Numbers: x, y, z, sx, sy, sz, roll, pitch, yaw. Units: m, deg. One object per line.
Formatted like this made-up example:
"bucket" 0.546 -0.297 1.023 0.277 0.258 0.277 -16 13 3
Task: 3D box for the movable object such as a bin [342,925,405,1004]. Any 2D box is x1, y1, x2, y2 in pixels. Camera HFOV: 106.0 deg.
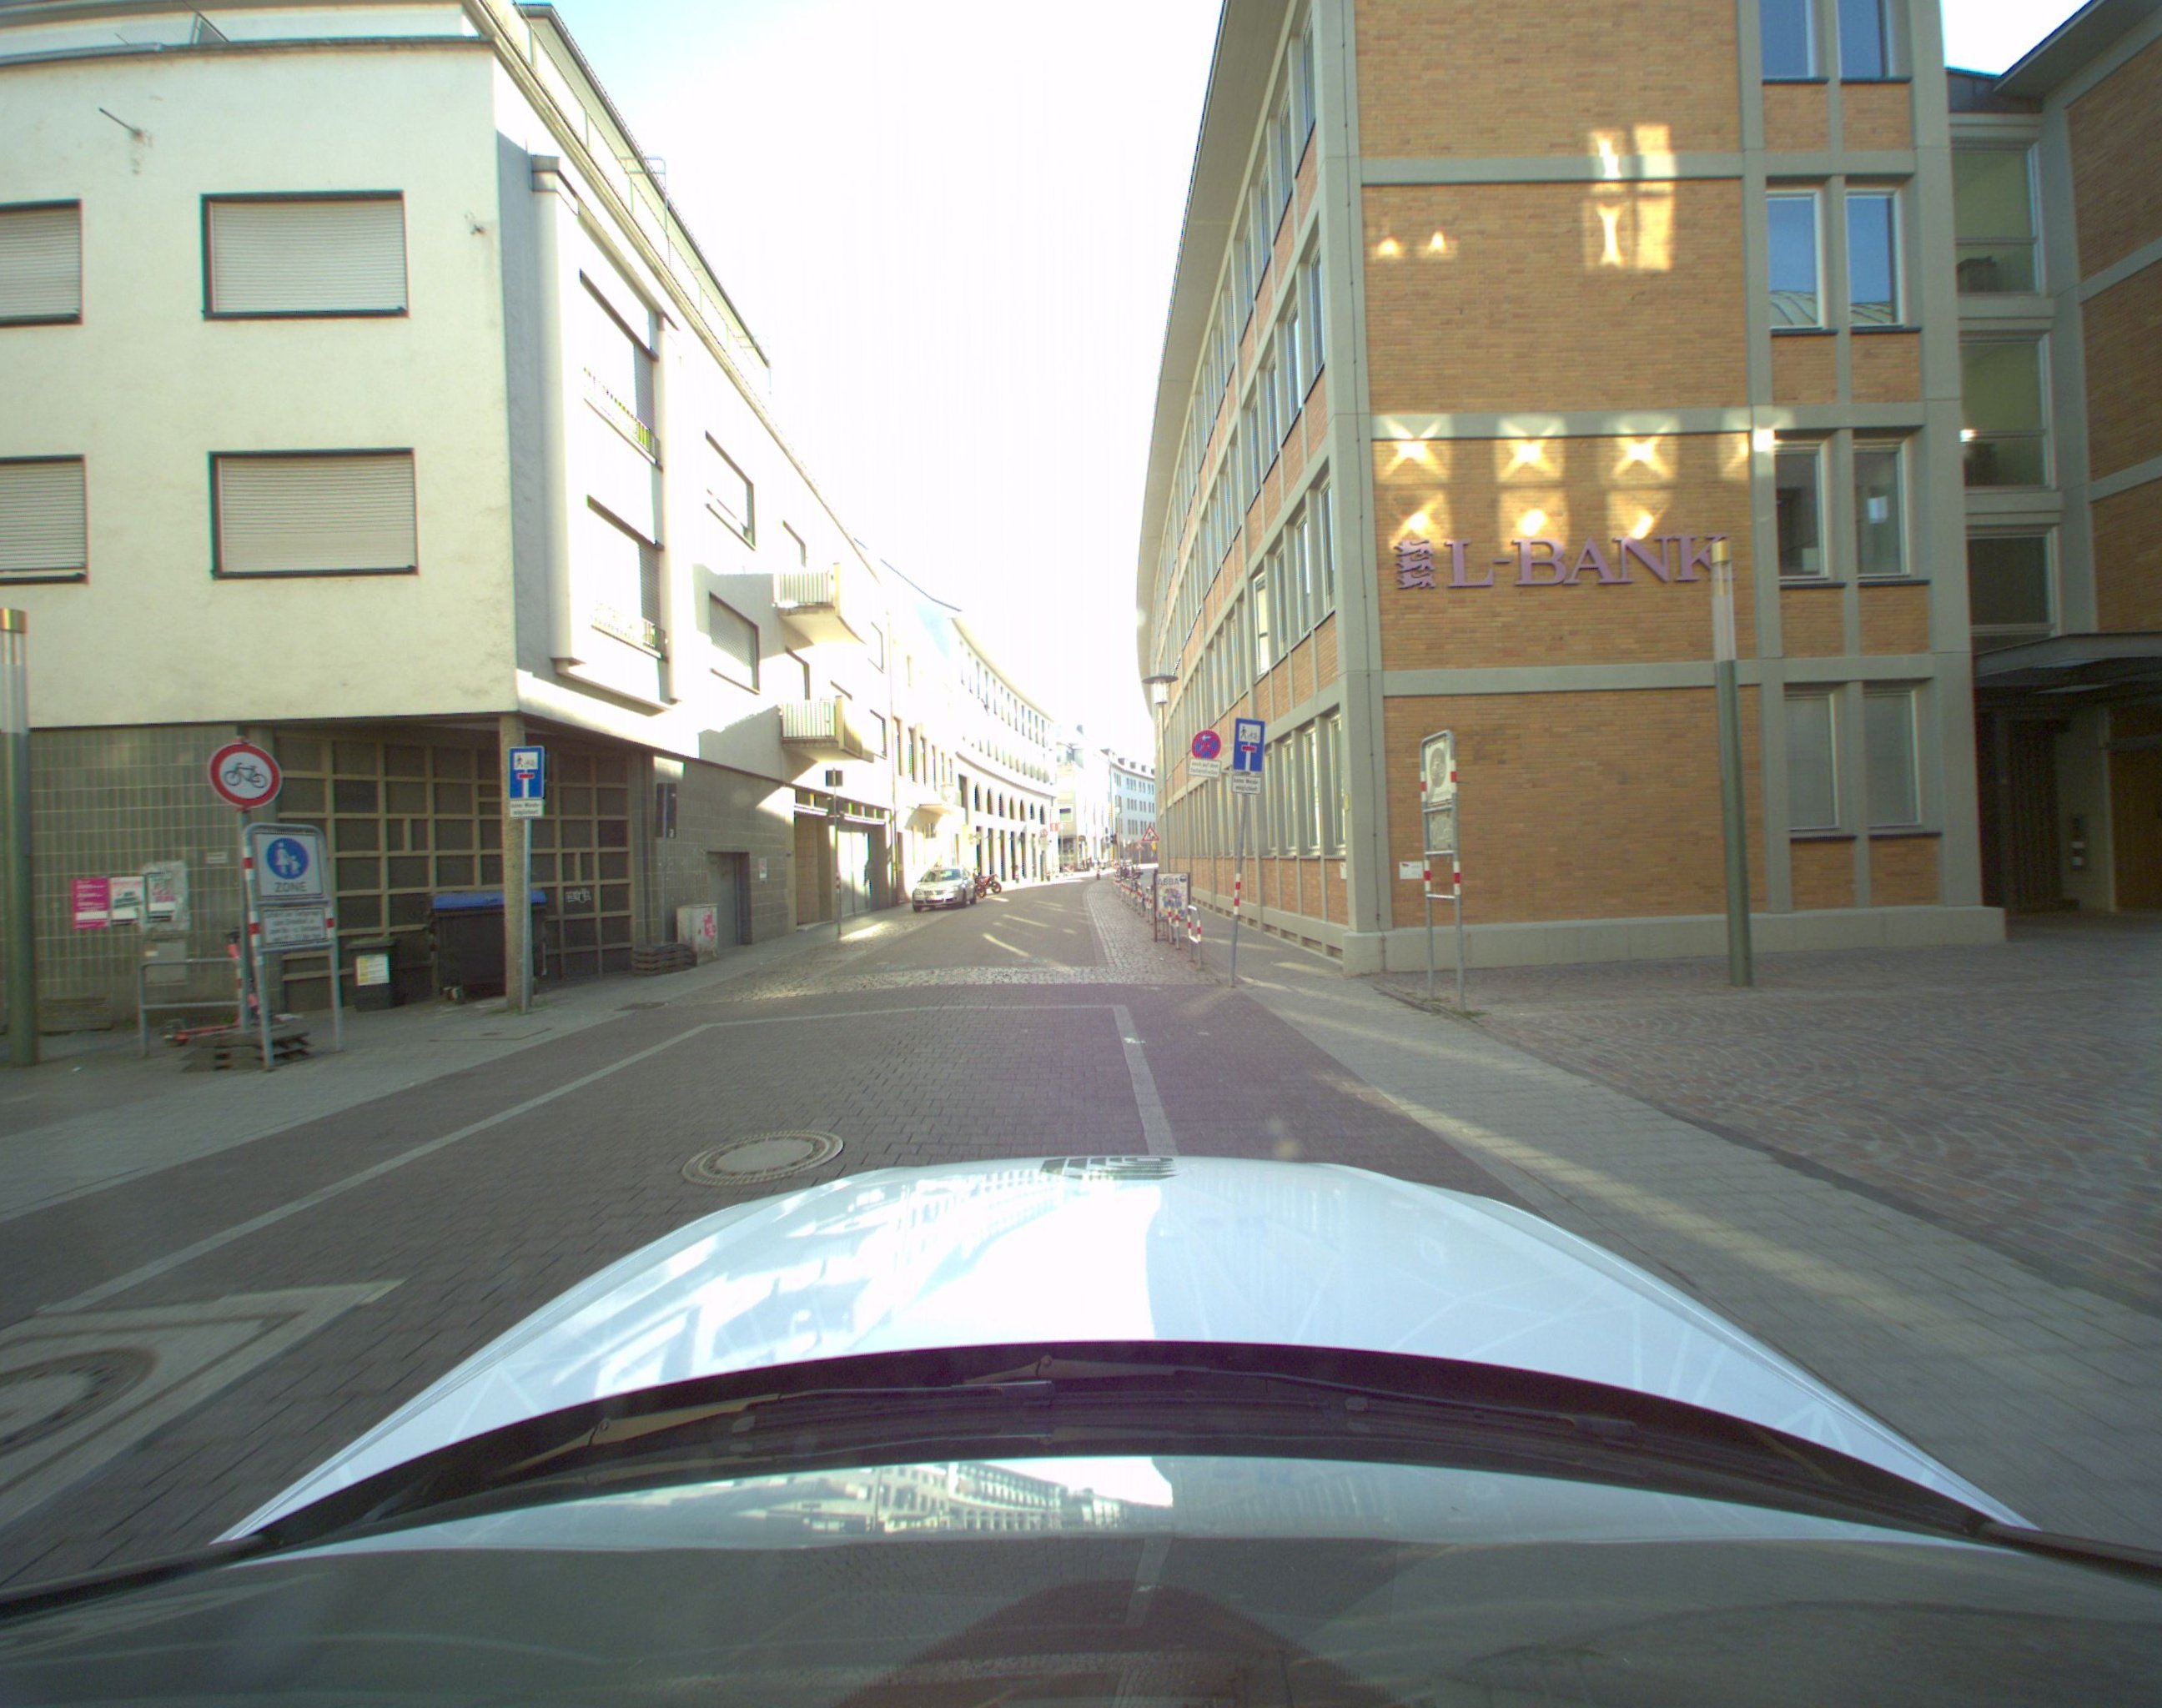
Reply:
"movable object such as a bin" -9.164 1.410 10.550 0.507 0.923 0.545 -2 0 42

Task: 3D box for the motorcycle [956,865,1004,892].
"motorcycle" -4.952 1.204 39.859 2.263 1.245 0.577 -3 -1 19

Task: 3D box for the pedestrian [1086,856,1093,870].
"pedestrian" 0.952 0.976 89.546 0.655 1.528 0.482 -2 0 1

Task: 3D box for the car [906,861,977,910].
"car" -4.808 1.039 28.584 1.759 1.470 3.813 -3 0 0

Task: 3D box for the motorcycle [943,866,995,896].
"motorcycle" -4.944 1.191 35.982 2.187 1.245 0.577 -3 -1 19

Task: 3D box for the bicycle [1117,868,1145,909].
"bicycle" 1.458 0.990 23.802 0.634 1.116 1.929 -1 0 -1

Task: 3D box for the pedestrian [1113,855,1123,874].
"pedestrian" 2.813 0.808 61.945 0.655 1.441 0.596 -1 -1 1

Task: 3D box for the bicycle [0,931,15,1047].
"bicycle" -11.635 1.388 8.055 1.696 1.140 0.448 -3 -1 4

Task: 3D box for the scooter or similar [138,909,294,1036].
"scooter or similar" -9.170 1.240 8.651 1.233 1.253 0.307 -2 -1 -5

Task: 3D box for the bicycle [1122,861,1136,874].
"bicycle" 3.957 1.093 66.644 0.923 1.047 3.374 -1 0 8

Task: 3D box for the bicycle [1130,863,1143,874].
"bicycle" 4.870 1.262 71.476 0.923 0.960 3.374 -1 0 8

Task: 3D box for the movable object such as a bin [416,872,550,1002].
"movable object such as a bin" -8.176 1.063 11.136 1.141 1.589 1.299 0 0 44
